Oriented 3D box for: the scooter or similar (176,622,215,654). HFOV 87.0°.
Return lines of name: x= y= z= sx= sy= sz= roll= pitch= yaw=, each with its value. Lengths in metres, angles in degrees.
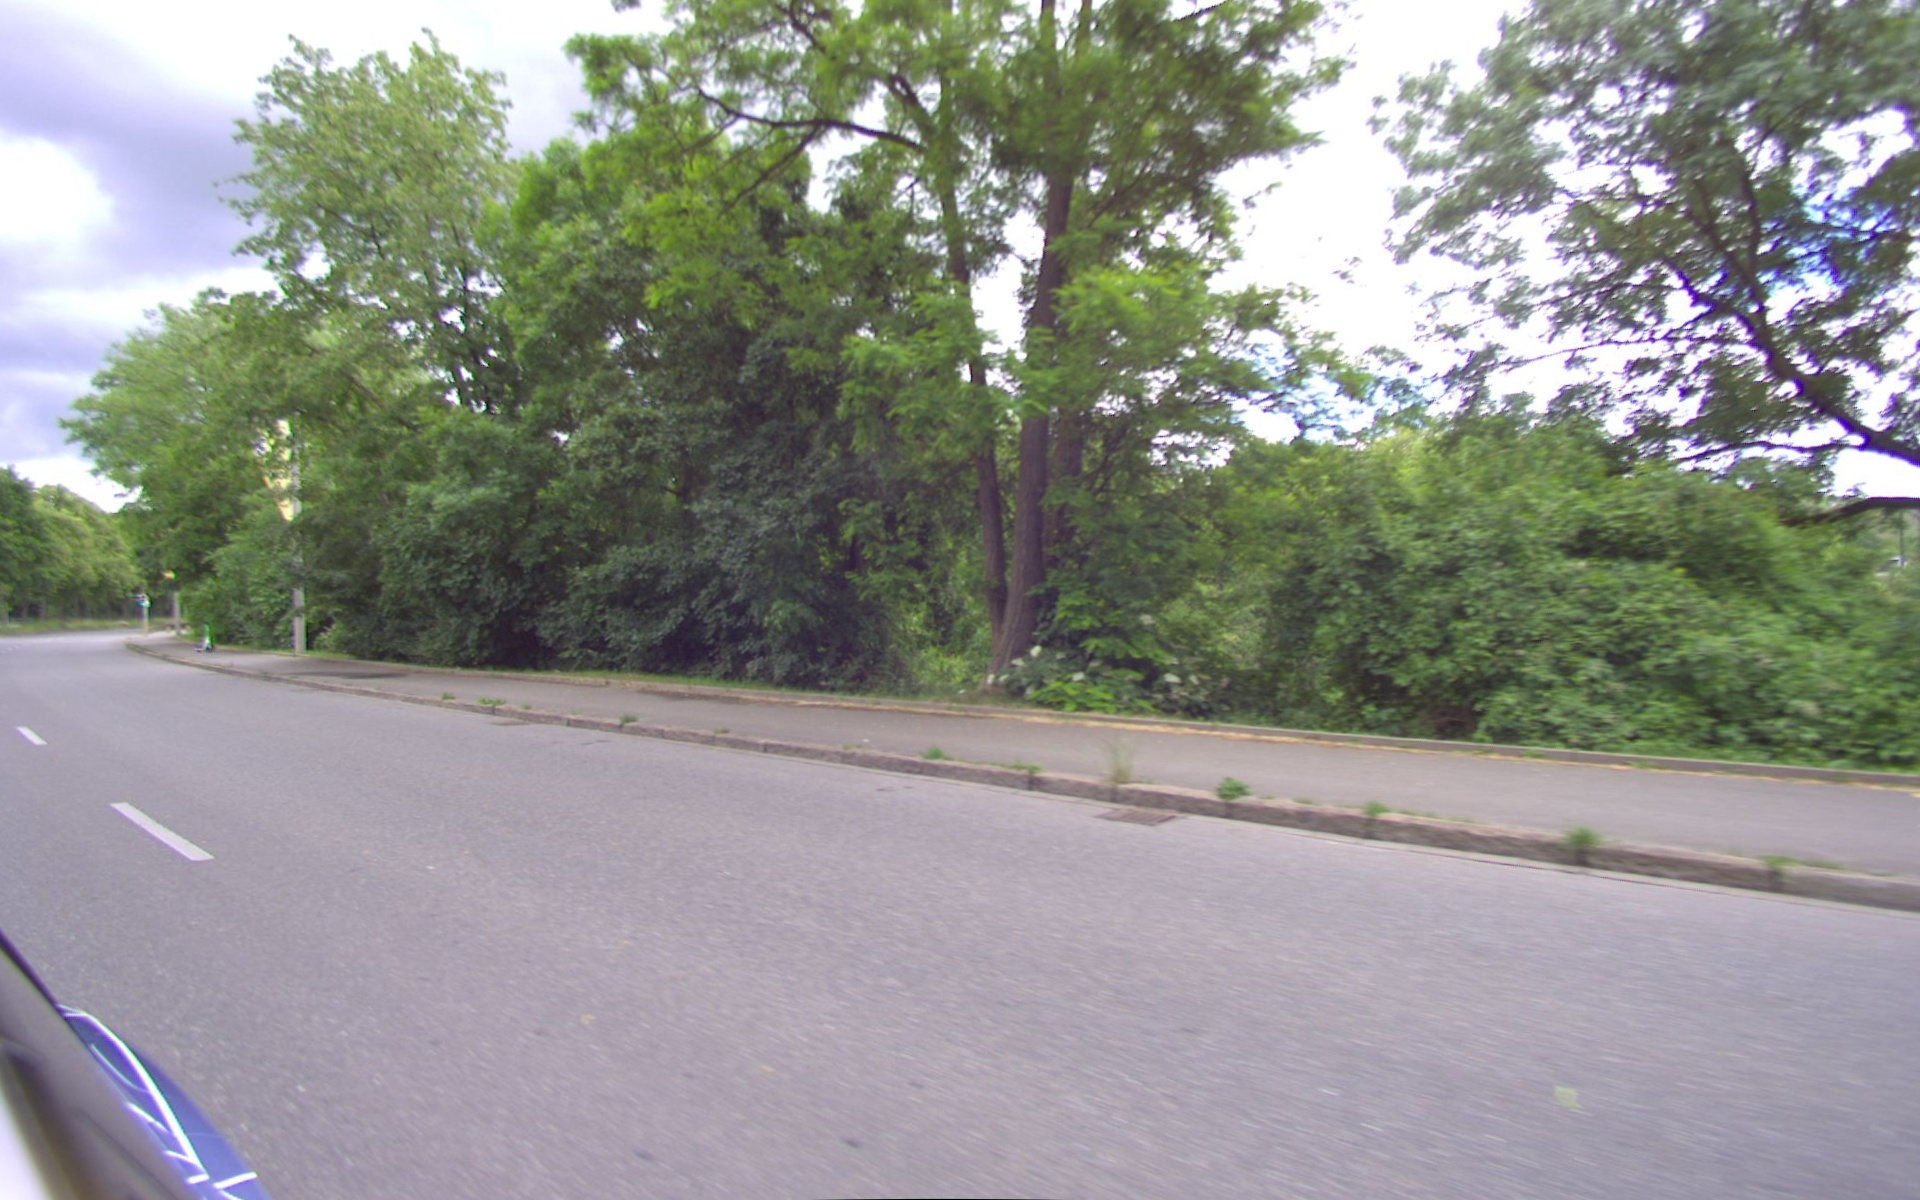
scooter or similar: x=-29.511 y=1.468 z=39.089 sx=1.282 sy=1.193 sz=0.365 roll=-2 pitch=1 yaw=8
